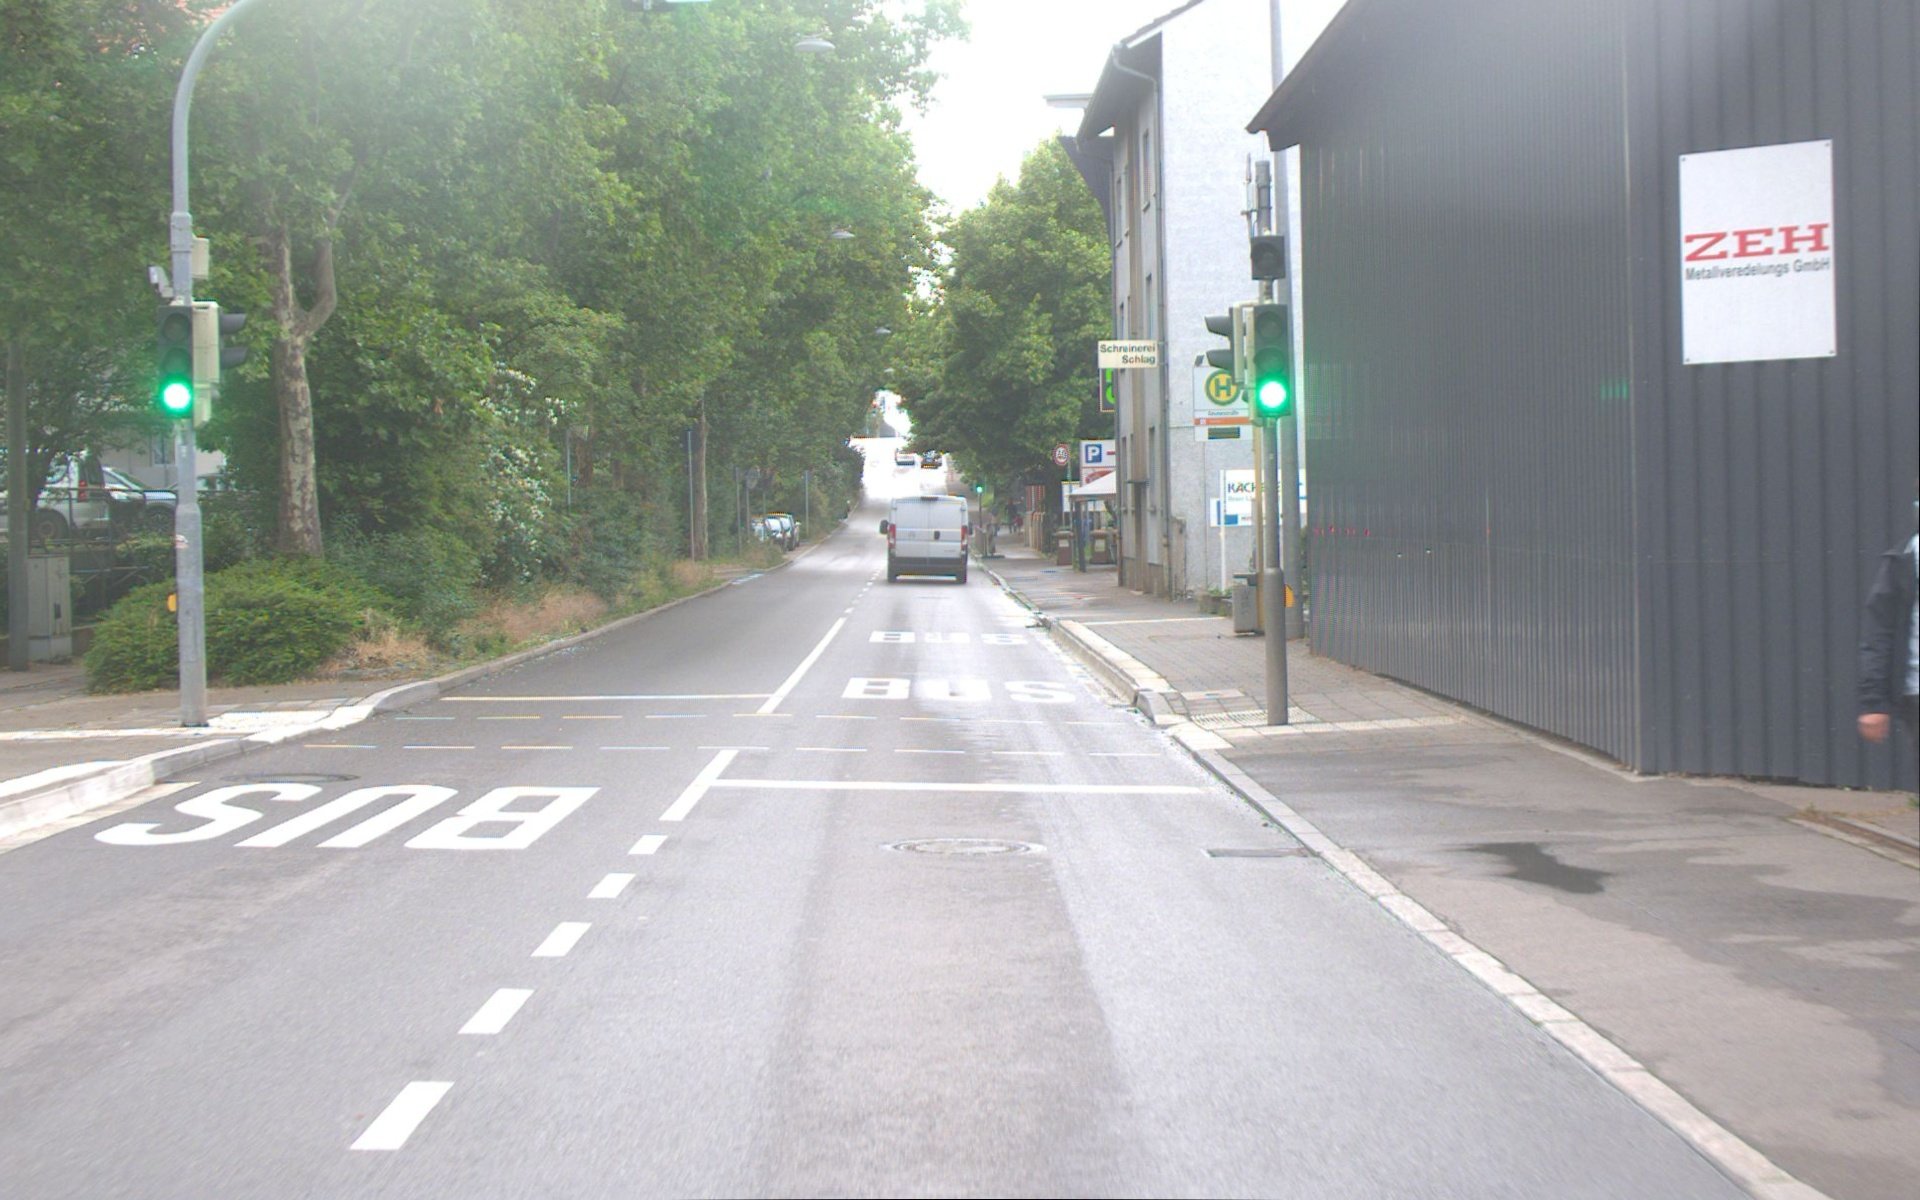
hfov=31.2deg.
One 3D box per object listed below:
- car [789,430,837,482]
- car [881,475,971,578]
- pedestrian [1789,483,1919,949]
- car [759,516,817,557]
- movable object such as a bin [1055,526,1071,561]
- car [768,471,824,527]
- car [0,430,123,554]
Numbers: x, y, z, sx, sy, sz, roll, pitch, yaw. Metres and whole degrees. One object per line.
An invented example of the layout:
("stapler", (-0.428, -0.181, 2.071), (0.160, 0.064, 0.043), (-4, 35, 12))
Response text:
("car", (-7.807, -7.624, 182.696), (2.215, 2.286, 4.608), (1, -3, 2))
("car", (-0.866, -1.879, 88.879), (2.282, 2.544, 4.000), (0, 0, 0))
("pedestrian", (3.668, 0.428, 13.014), (0.742, 1.698, 0.902), (1, 0, -6))
("car", (-7.700, -2.833, 154.149), (2.215, 1.685, 4.609), (1, 0, 2))
("movable object such as a bin", (3.228, -1.780, 107.808), (0.399, 1.063, 0.358), (-4, 0, -6))
("car", (-7.700, -4.725, 161.851), (2.215, 2.525, 4.609), (1, 1, 2))
("car", (-16.109, -1.767, 56.679), (4.168, 2.007, 1.719), (0, 1, 2))
